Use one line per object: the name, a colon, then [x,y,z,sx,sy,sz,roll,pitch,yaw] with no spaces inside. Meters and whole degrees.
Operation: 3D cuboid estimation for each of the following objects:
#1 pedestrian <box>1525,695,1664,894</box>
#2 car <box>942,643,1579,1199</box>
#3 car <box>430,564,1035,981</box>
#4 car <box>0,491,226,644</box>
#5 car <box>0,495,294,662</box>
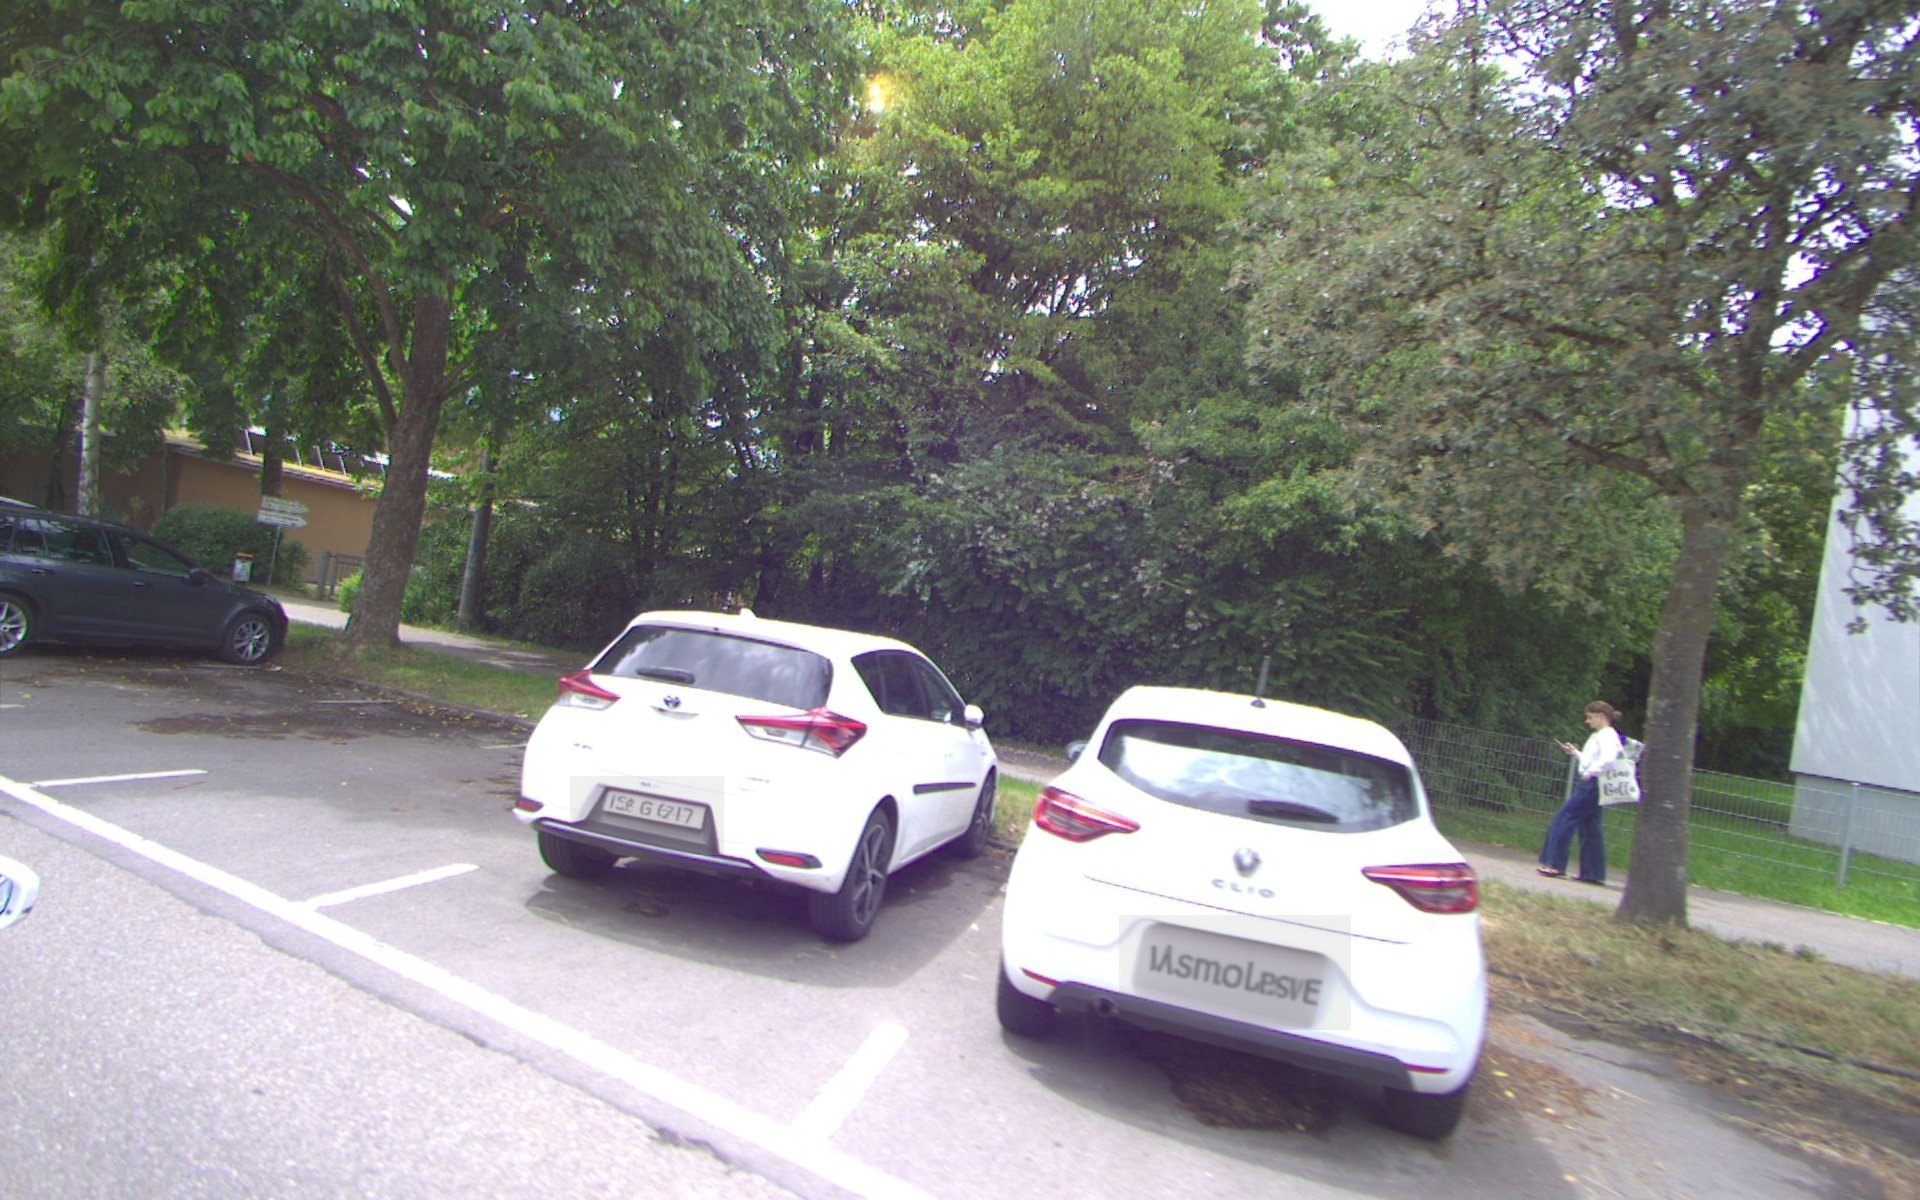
pedestrian: [5.923,1.789,9.397,0.689,1.663,0.770,8,-1,-40]
car: [1.375,1.174,5.104,1.762,1.480,4.008,7,-3,15]
car: [-0.898,0.871,6.233,1.831,1.480,4.007,7,-3,16]
car: [-11.879,-0.525,12.134,1.871,1.602,4.490,7,-3,19]
car: [-9.682,-0.258,10.672,1.764,1.480,4.154,7,-3,13]
